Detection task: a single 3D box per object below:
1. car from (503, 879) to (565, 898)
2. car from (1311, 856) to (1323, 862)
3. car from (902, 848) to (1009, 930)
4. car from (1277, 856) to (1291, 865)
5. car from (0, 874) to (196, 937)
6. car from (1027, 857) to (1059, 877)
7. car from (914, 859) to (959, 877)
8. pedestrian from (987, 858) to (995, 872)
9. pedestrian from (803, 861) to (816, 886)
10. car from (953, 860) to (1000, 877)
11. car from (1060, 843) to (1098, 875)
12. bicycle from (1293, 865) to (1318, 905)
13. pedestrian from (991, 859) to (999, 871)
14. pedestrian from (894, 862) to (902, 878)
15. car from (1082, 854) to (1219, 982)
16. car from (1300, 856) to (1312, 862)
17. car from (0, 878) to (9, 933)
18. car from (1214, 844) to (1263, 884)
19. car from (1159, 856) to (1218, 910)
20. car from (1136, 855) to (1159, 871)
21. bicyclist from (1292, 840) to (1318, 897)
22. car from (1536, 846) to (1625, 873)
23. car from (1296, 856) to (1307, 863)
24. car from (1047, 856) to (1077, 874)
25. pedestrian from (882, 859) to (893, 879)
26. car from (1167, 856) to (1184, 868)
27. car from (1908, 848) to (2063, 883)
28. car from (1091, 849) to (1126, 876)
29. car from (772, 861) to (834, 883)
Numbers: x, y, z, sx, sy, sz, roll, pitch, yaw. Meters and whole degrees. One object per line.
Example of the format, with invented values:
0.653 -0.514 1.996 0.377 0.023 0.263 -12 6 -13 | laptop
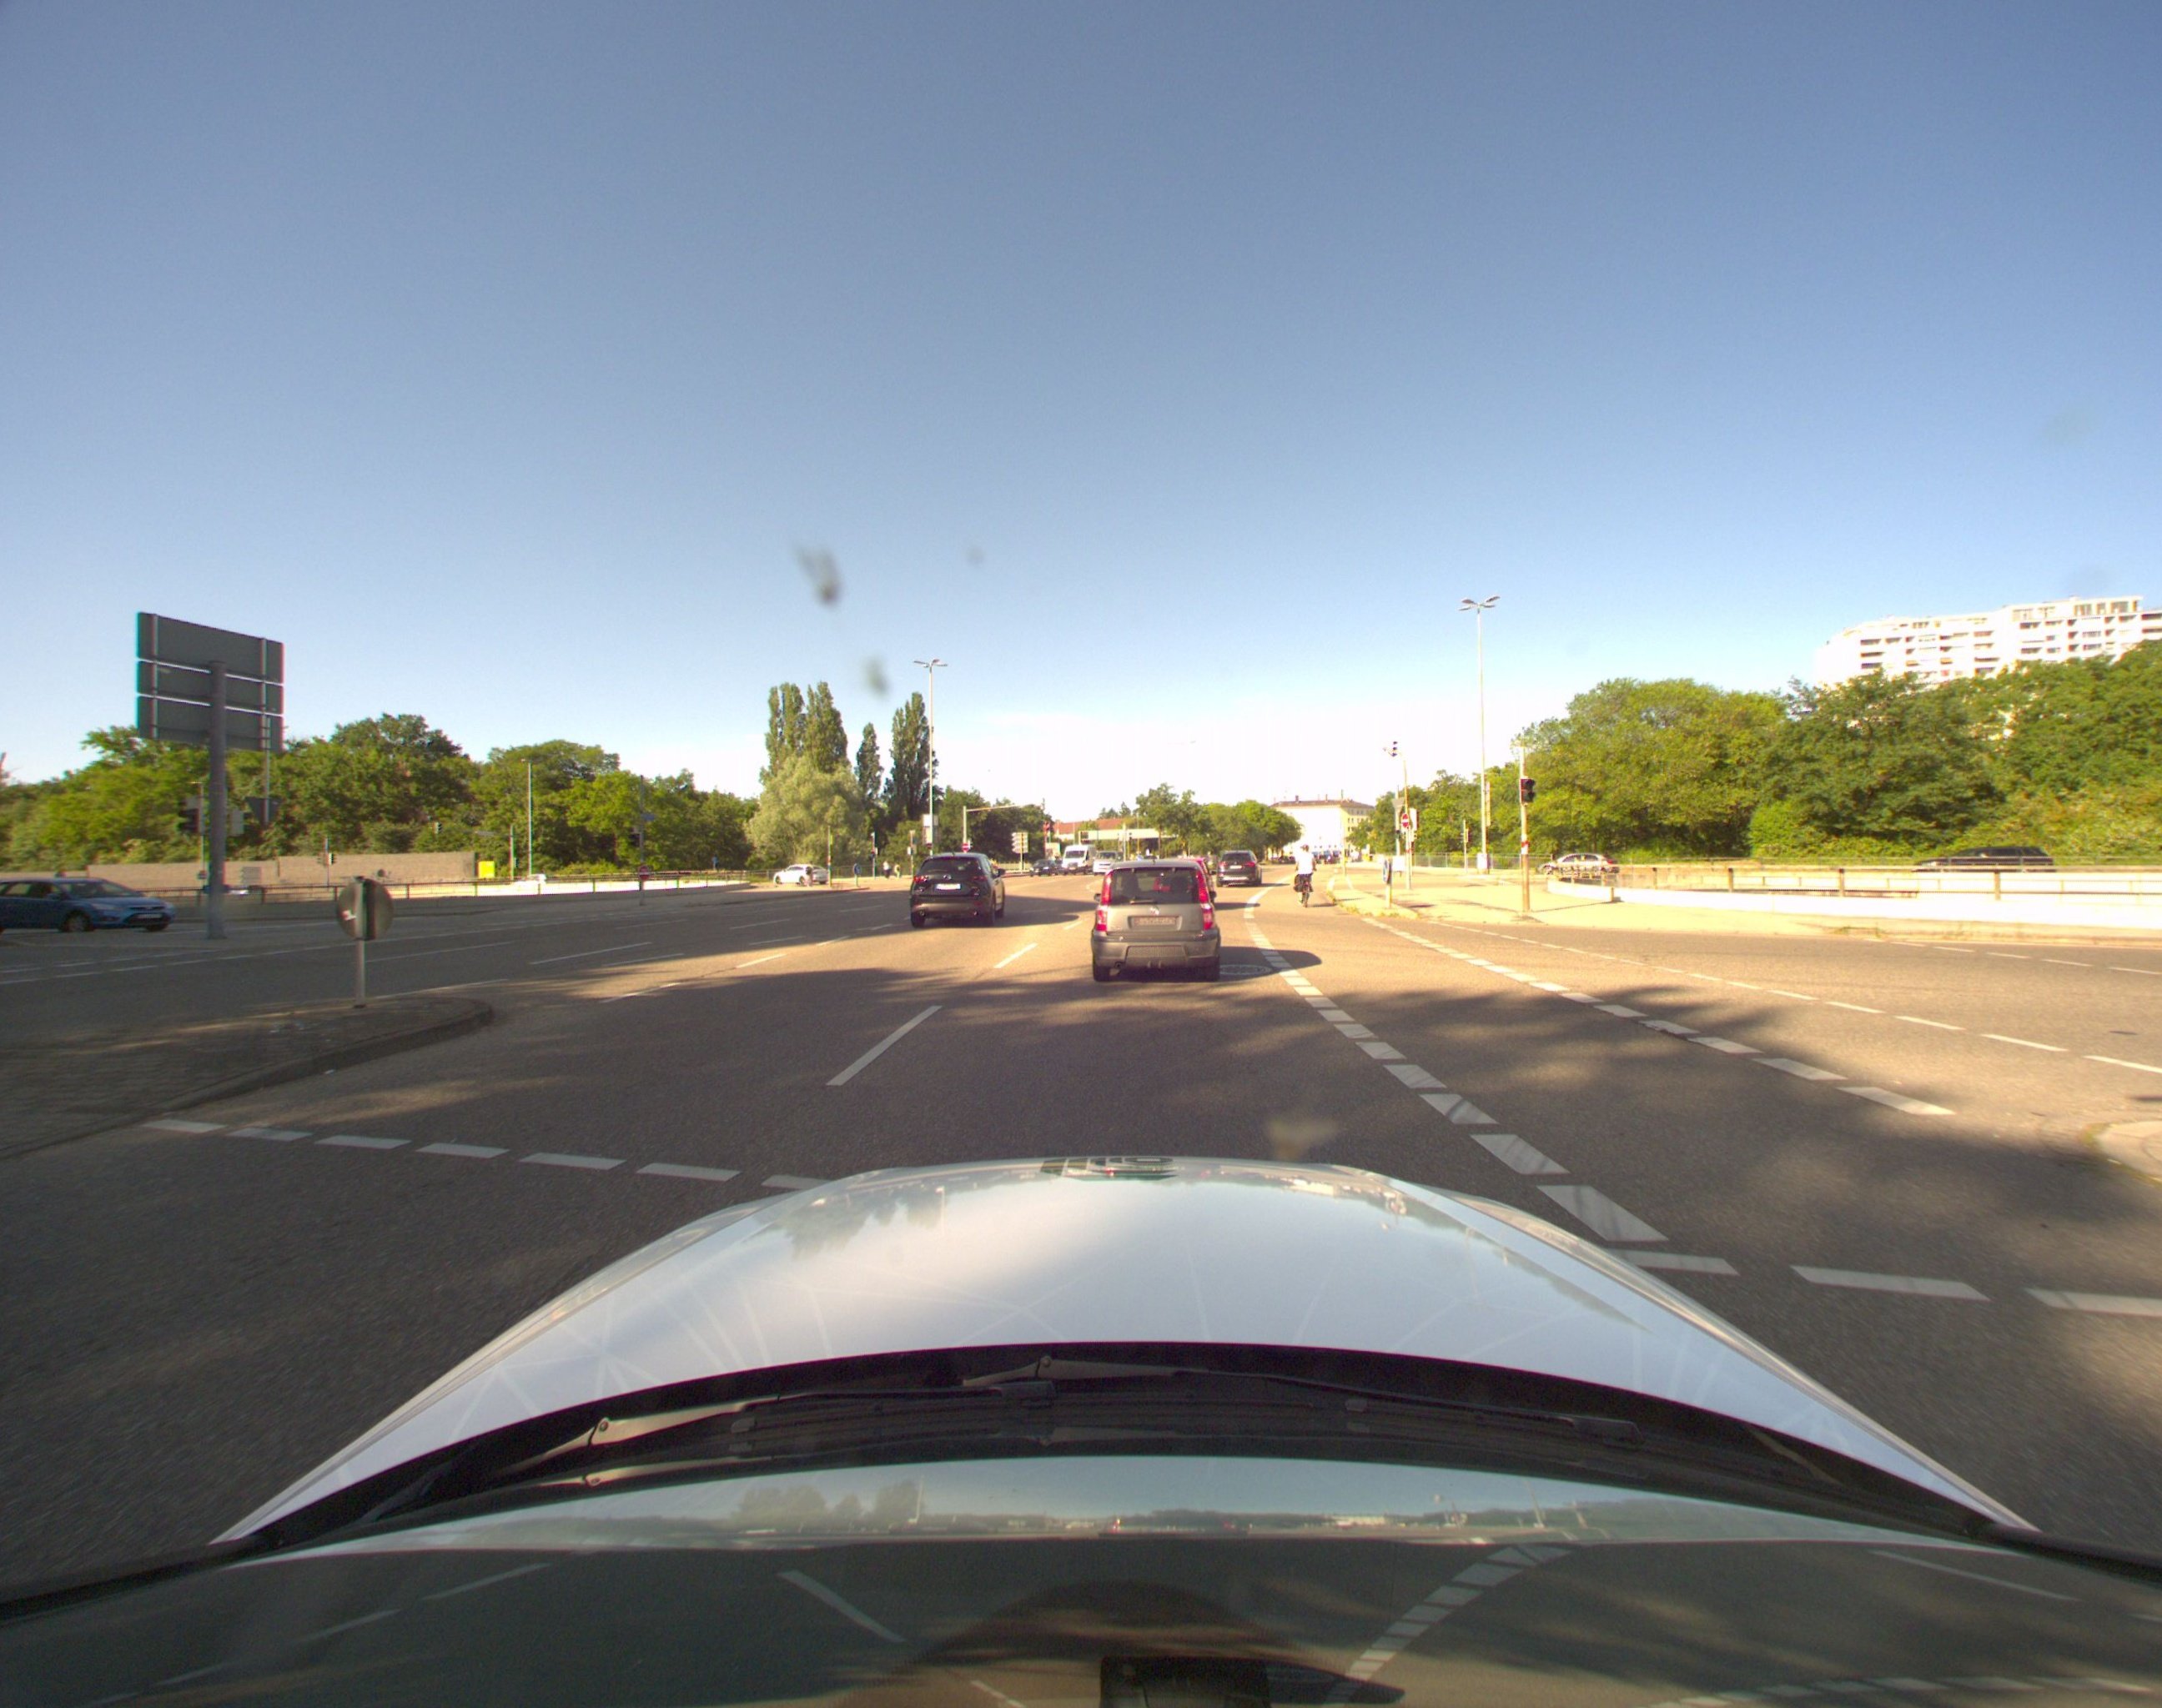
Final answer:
-45.366 2.854 67.559 3.960 1.508 2.007 -1 0 12 | car
61.352 1.301 211.395 1.926 1.528 4.123 -1 0 33 | car
-2.839 0.760 19.350 1.868 1.709 4.196 -1 0 0 | car
33.769 1.070 135.405 1.929 1.528 4.117 -1 0 19 | car
-27.286 1.372 22.170 4.424 1.541 1.954 -1 0 4 | car
-3.152 1.078 68.203 1.925 1.507 4.010 -3 0 8 | car
-14.053 1.377 79.207 1.877 1.625 4.024 -2 -3 42 | car
-10.744 1.266 97.175 0.715 1.641 0.675 0 -2 16 | pedestrian
-16.272 1.157 48.889 0.680 1.463 0.699 -1 -1 -15 | pedestrian
-9.944 1.343 77.673 1.762 1.535 4.356 0 0 40 | car
-0.097 0.402 67.603 1.924 2.576 6.107 -1 0 11 | car
6.615 0.898 24.037 0.686 1.102 1.834 0 0 16 | bicycle
-10.664 1.354 101.016 0.664 1.503 0.784 -1 -3 30 | pedestrian
-17.010 1.493 75.788 0.559 1.547 0.571 -1 -2 -25 | pedestrian
1.077 0.766 11.582 1.608 1.515 3.828 -1 0 8 | car
54.666 1.238 197.609 1.927 1.528 4.122 -1 0 28 | car
-33.009 1.499 22.594 4.420 1.541 1.955 -1 0 6 | car
7.729 0.492 39.689 1.930 1.840 4.171 -1 -1 17 | car
3.205 0.813 24.244 1.608 1.463 3.759 -1 0 8 | car
7.395 0.978 90.038 1.923 1.622 4.521 -1 0 12 | car
6.621 0.424 24.091 0.718 1.659 1.117 0 0 15 | bicyclist
29.835 0.345 48.676 1.872 1.552 4.192 -1 0 -44 | car
47.549 1.251 175.927 1.929 1.528 4.118 -1 0 20 | car
-1.725 1.021 75.171 1.799 1.541 4.630 -3 0 10 | car
-15.237 1.165 64.129 0.713 1.547 0.723 -1 -1 -25 | pedestrian
13.583 1.090 116.416 1.923 1.622 4.521 -1 0 12 | car
43.561 0.555 39.360 4.621 1.616 1.871 -1 0 24 | car
2.196 0.664 64.207 1.924 2.008 4.946 -1 0 11 | car
-19.348 1.247 56.624 4.263 1.415 1.797 -1 -1 33 | car
